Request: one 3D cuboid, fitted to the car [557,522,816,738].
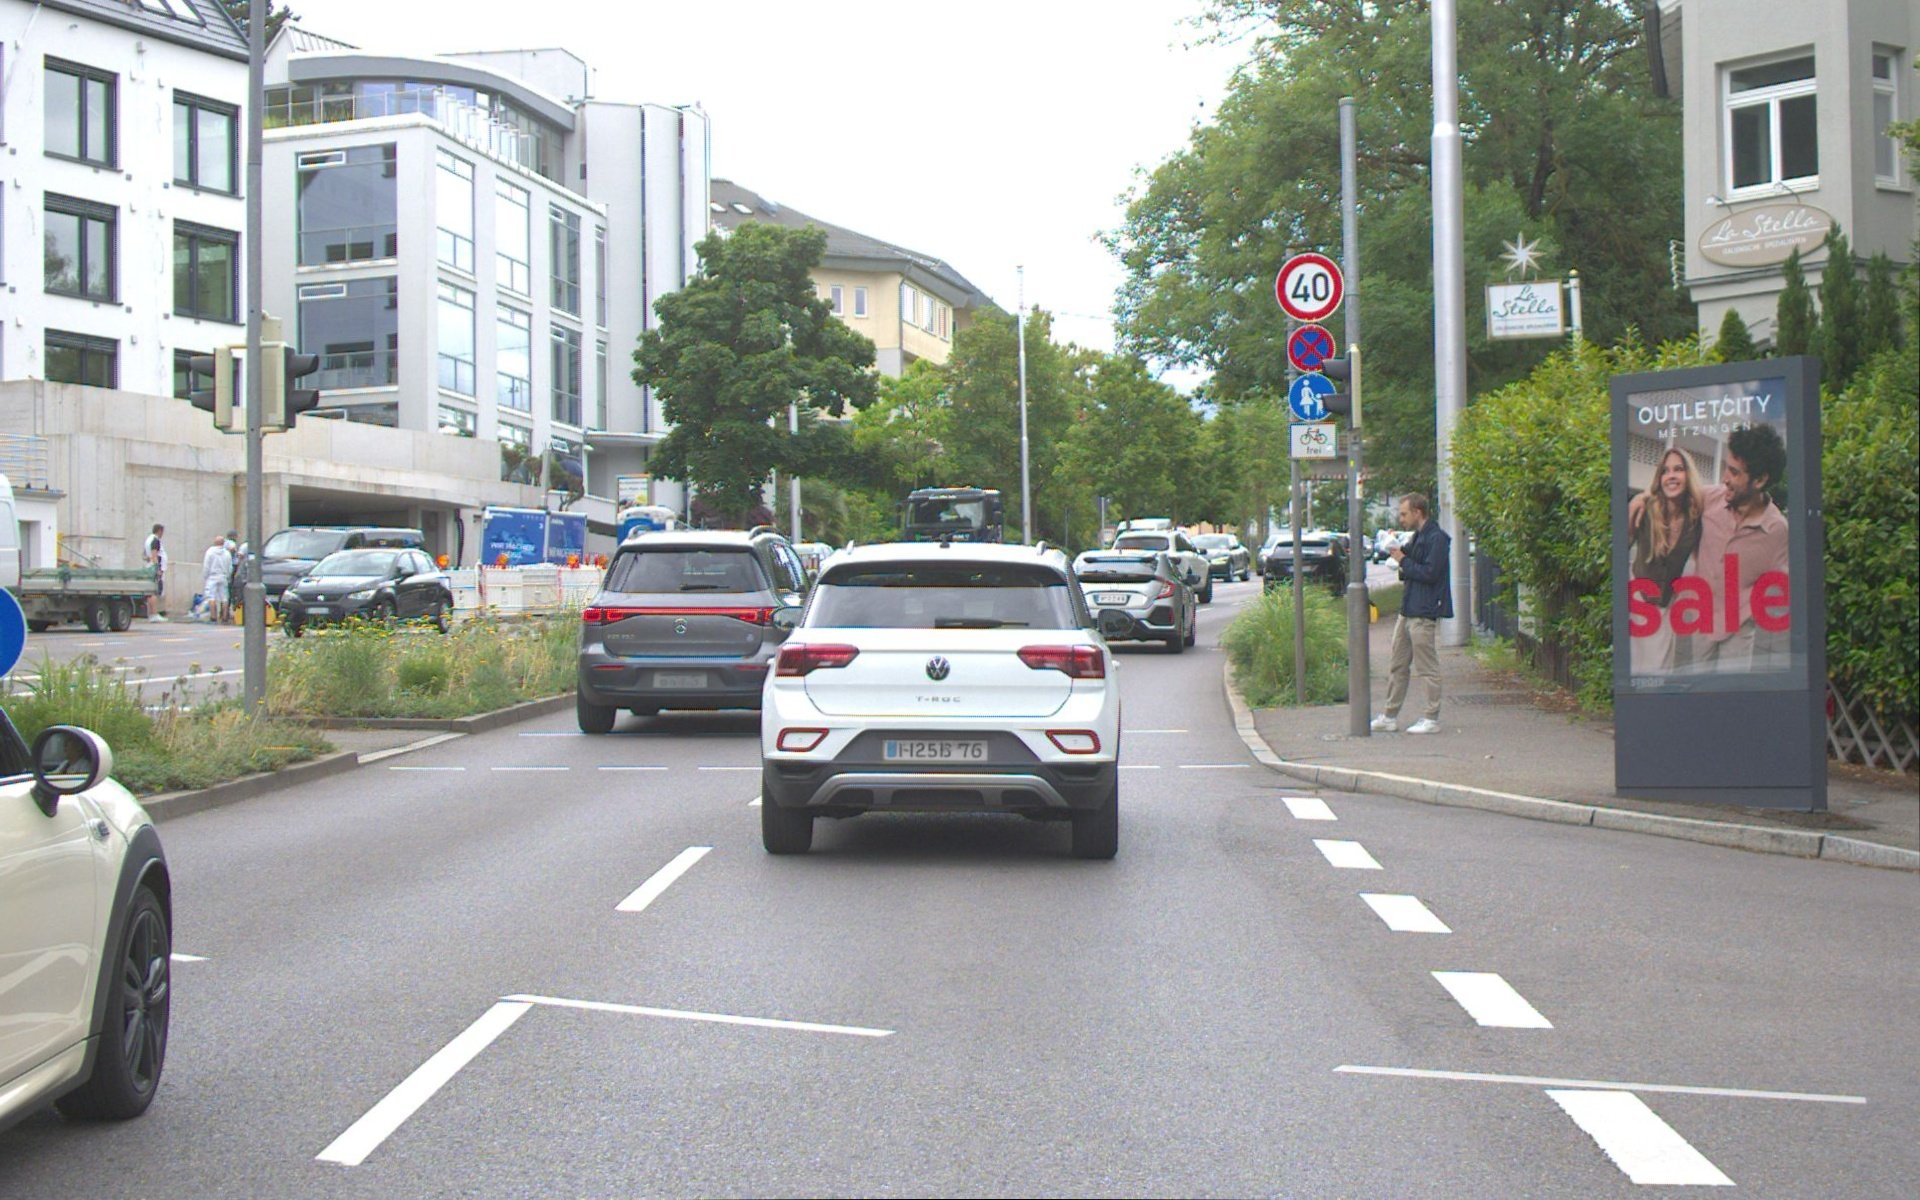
[{"bbox_3d":[-2.219,0.198,28.993,1.813,1.646,4.636,-1,1,0],"label":"car"}]

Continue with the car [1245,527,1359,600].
[{"bbox_3d":[7.671,-0.799,76.799,1.874,1.496,4.552,3,1,13],"label":"car"}]

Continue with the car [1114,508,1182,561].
[{"bbox_3d":[8.384,-2.919,152.841,2.070,2.298,5.462,0,1,14],"label":"car"}]

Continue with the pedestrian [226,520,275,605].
[{"bbox_3d":[-13.805,-0.730,66.922,0.674,1.634,0.672,1,1,-37],"label":"pedestrian"}]

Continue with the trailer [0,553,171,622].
[{"bbox_3d":[-15.382,-0.238,58.217,2.247,1.108,4.620,0,1,11],"label":"trailer"}]

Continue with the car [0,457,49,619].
[{"bbox_3d":[-16.587,-0.940,52.301,2.232,2.559,7.418,0,1,11],"label":"car"}]

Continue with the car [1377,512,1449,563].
[{"bbox_3d":[13.769,-1.892,104.397,1.859,1.495,4.054,-1,1,12],"label":"car"}]

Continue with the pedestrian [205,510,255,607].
[{"bbox_3d":[-13.985,-0.797,65.833,0.674,1.834,0.672,1,1,-37],"label":"pedestrian"}]

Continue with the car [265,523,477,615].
[{"bbox_3d":[-9.519,-0.488,55.848,1.627,1.388,3.853,2,1,21],"label":"car"}]

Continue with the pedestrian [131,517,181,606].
[{"bbox_3d":[-15.123,-0.724,64.657,0.626,1.634,0.671,2,1,18],"label":"pedestrian"}]

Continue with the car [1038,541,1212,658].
[{"bbox_3d":[2.394,-0.011,48.708,1.874,1.496,4.553,3,0,9],"label":"car"}]

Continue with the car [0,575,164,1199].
[{"bbox_3d":[-2.939,0.667,7.568,1.628,1.388,3.566,-1,1,-2],"label":"car"}]

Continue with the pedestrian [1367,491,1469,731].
[{"bbox_3d":[3.541,0.081,26.614,0.693,1.827,0.620,1,0,3],"label":"pedestrian"}]

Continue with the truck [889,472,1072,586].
[{"bbox_3d":[0.668,-1.934,94.568,2.963,2.961,8.973,1,1,14],"label":"truck"}]

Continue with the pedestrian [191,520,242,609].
[{"bbox_3d":[-13.999,-0.669,64.716,0.674,1.634,0.672,1,1,-37],"label":"pedestrian"}]

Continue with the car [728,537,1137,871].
[{"bbox_3d":[-0.249,0.459,17.977,1.811,1.534,3.690,-1,1,-5],"label":"car"}]

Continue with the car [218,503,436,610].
[{"bbox_3d":[-12.107,-0.842,66.119,1.984,1.960,5.214,0,1,16],"label":"car"}]

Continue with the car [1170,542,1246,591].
[{"bbox_3d":[7.899,-1.074,109.202,1.697,1.491,4.483,1,1,13],"label":"car"}]

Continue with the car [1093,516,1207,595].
[{"bbox_3d":[4.212,-0.994,75.521,1.859,1.646,4.634,-1,1,11],"label":"car"}]
